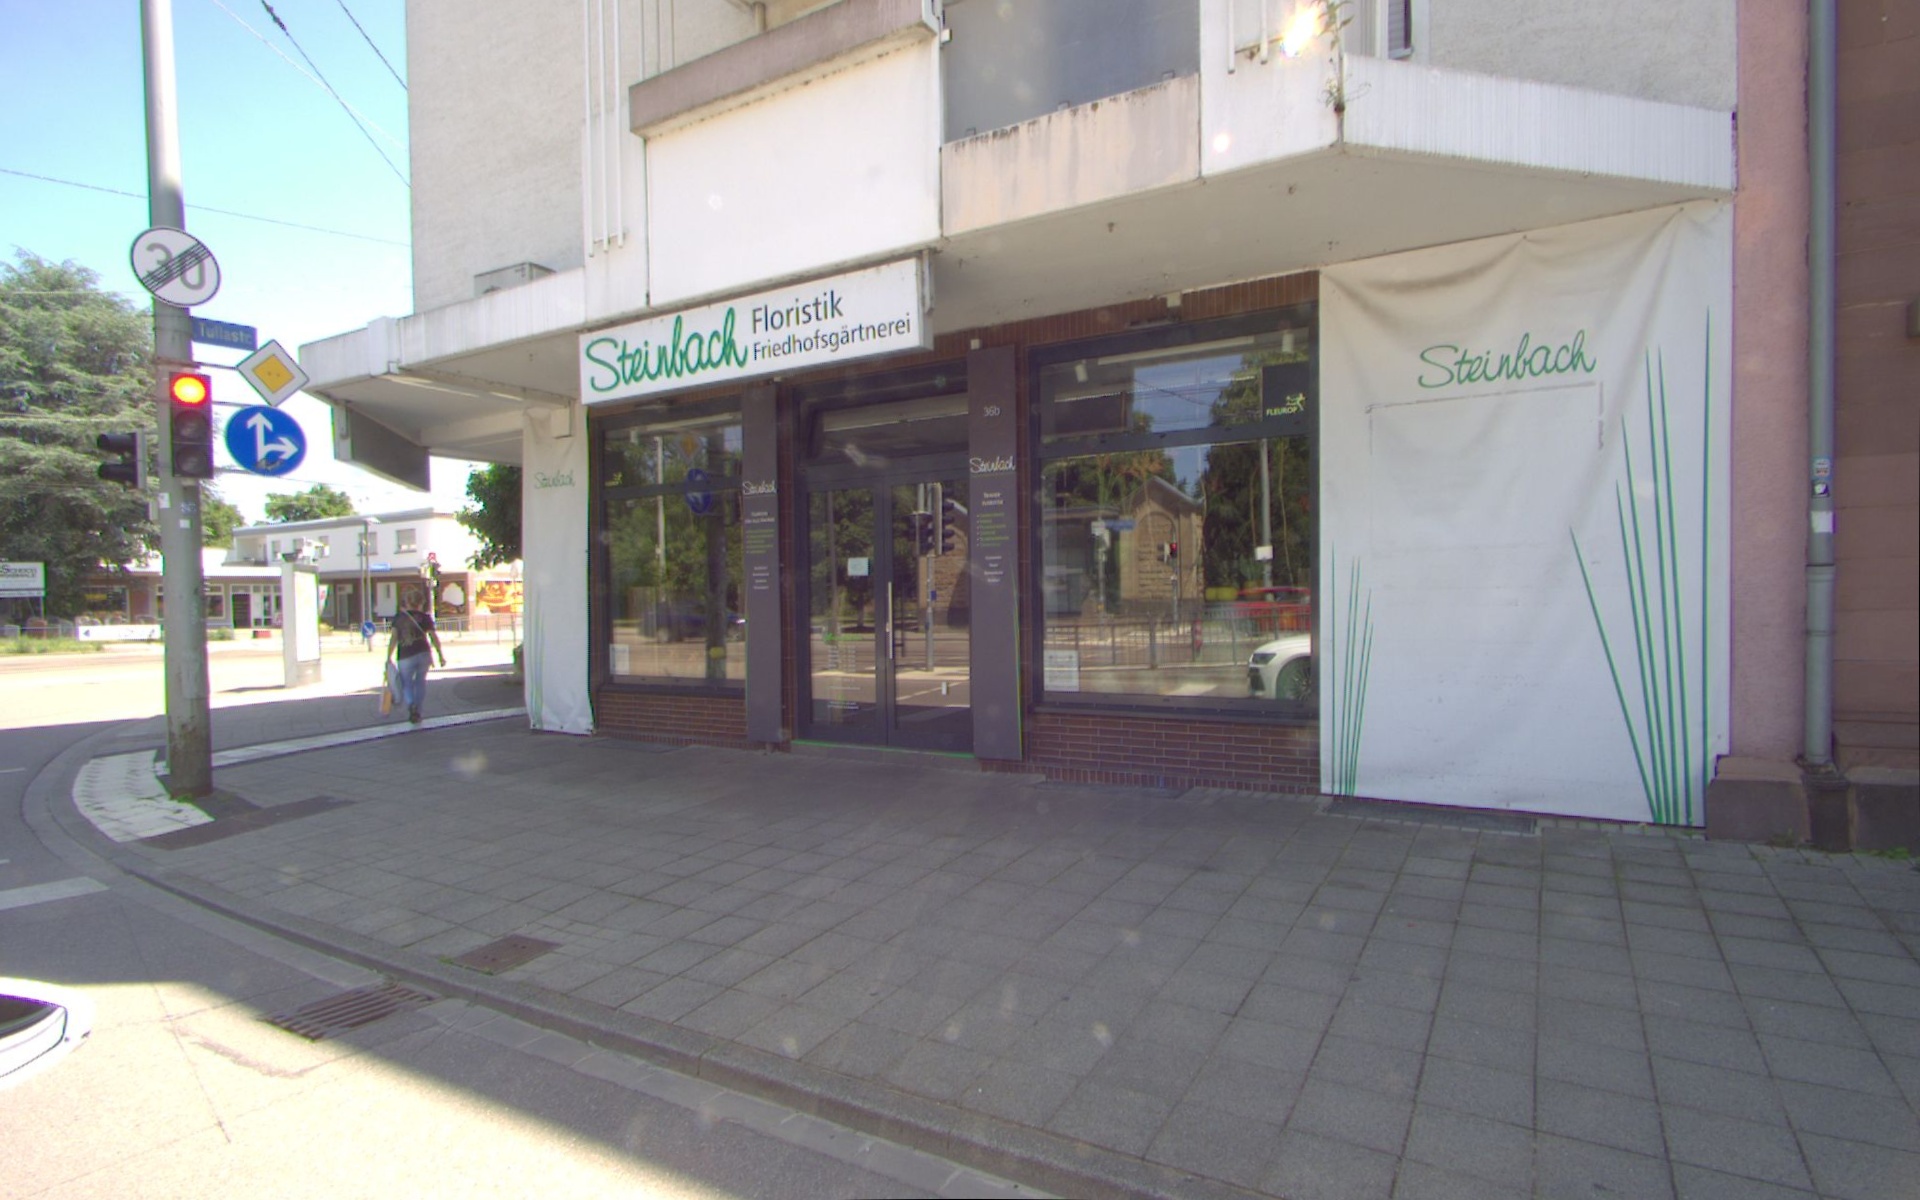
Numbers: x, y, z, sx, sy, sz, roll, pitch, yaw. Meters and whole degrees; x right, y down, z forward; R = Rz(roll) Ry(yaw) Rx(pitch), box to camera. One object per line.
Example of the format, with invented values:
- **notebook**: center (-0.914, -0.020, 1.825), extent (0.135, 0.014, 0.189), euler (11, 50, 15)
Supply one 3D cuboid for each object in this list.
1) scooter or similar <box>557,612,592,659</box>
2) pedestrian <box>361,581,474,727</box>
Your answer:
- **scooter or similar**: center (-10.498, 0.948, 27.299), extent (0.387, 1.229, 1.255), euler (-1, 0, 5)
- **pedestrian**: center (-6.401, 0.611, 11.828), extent (0.816, 1.606, 0.822), euler (0, 4, 38)
